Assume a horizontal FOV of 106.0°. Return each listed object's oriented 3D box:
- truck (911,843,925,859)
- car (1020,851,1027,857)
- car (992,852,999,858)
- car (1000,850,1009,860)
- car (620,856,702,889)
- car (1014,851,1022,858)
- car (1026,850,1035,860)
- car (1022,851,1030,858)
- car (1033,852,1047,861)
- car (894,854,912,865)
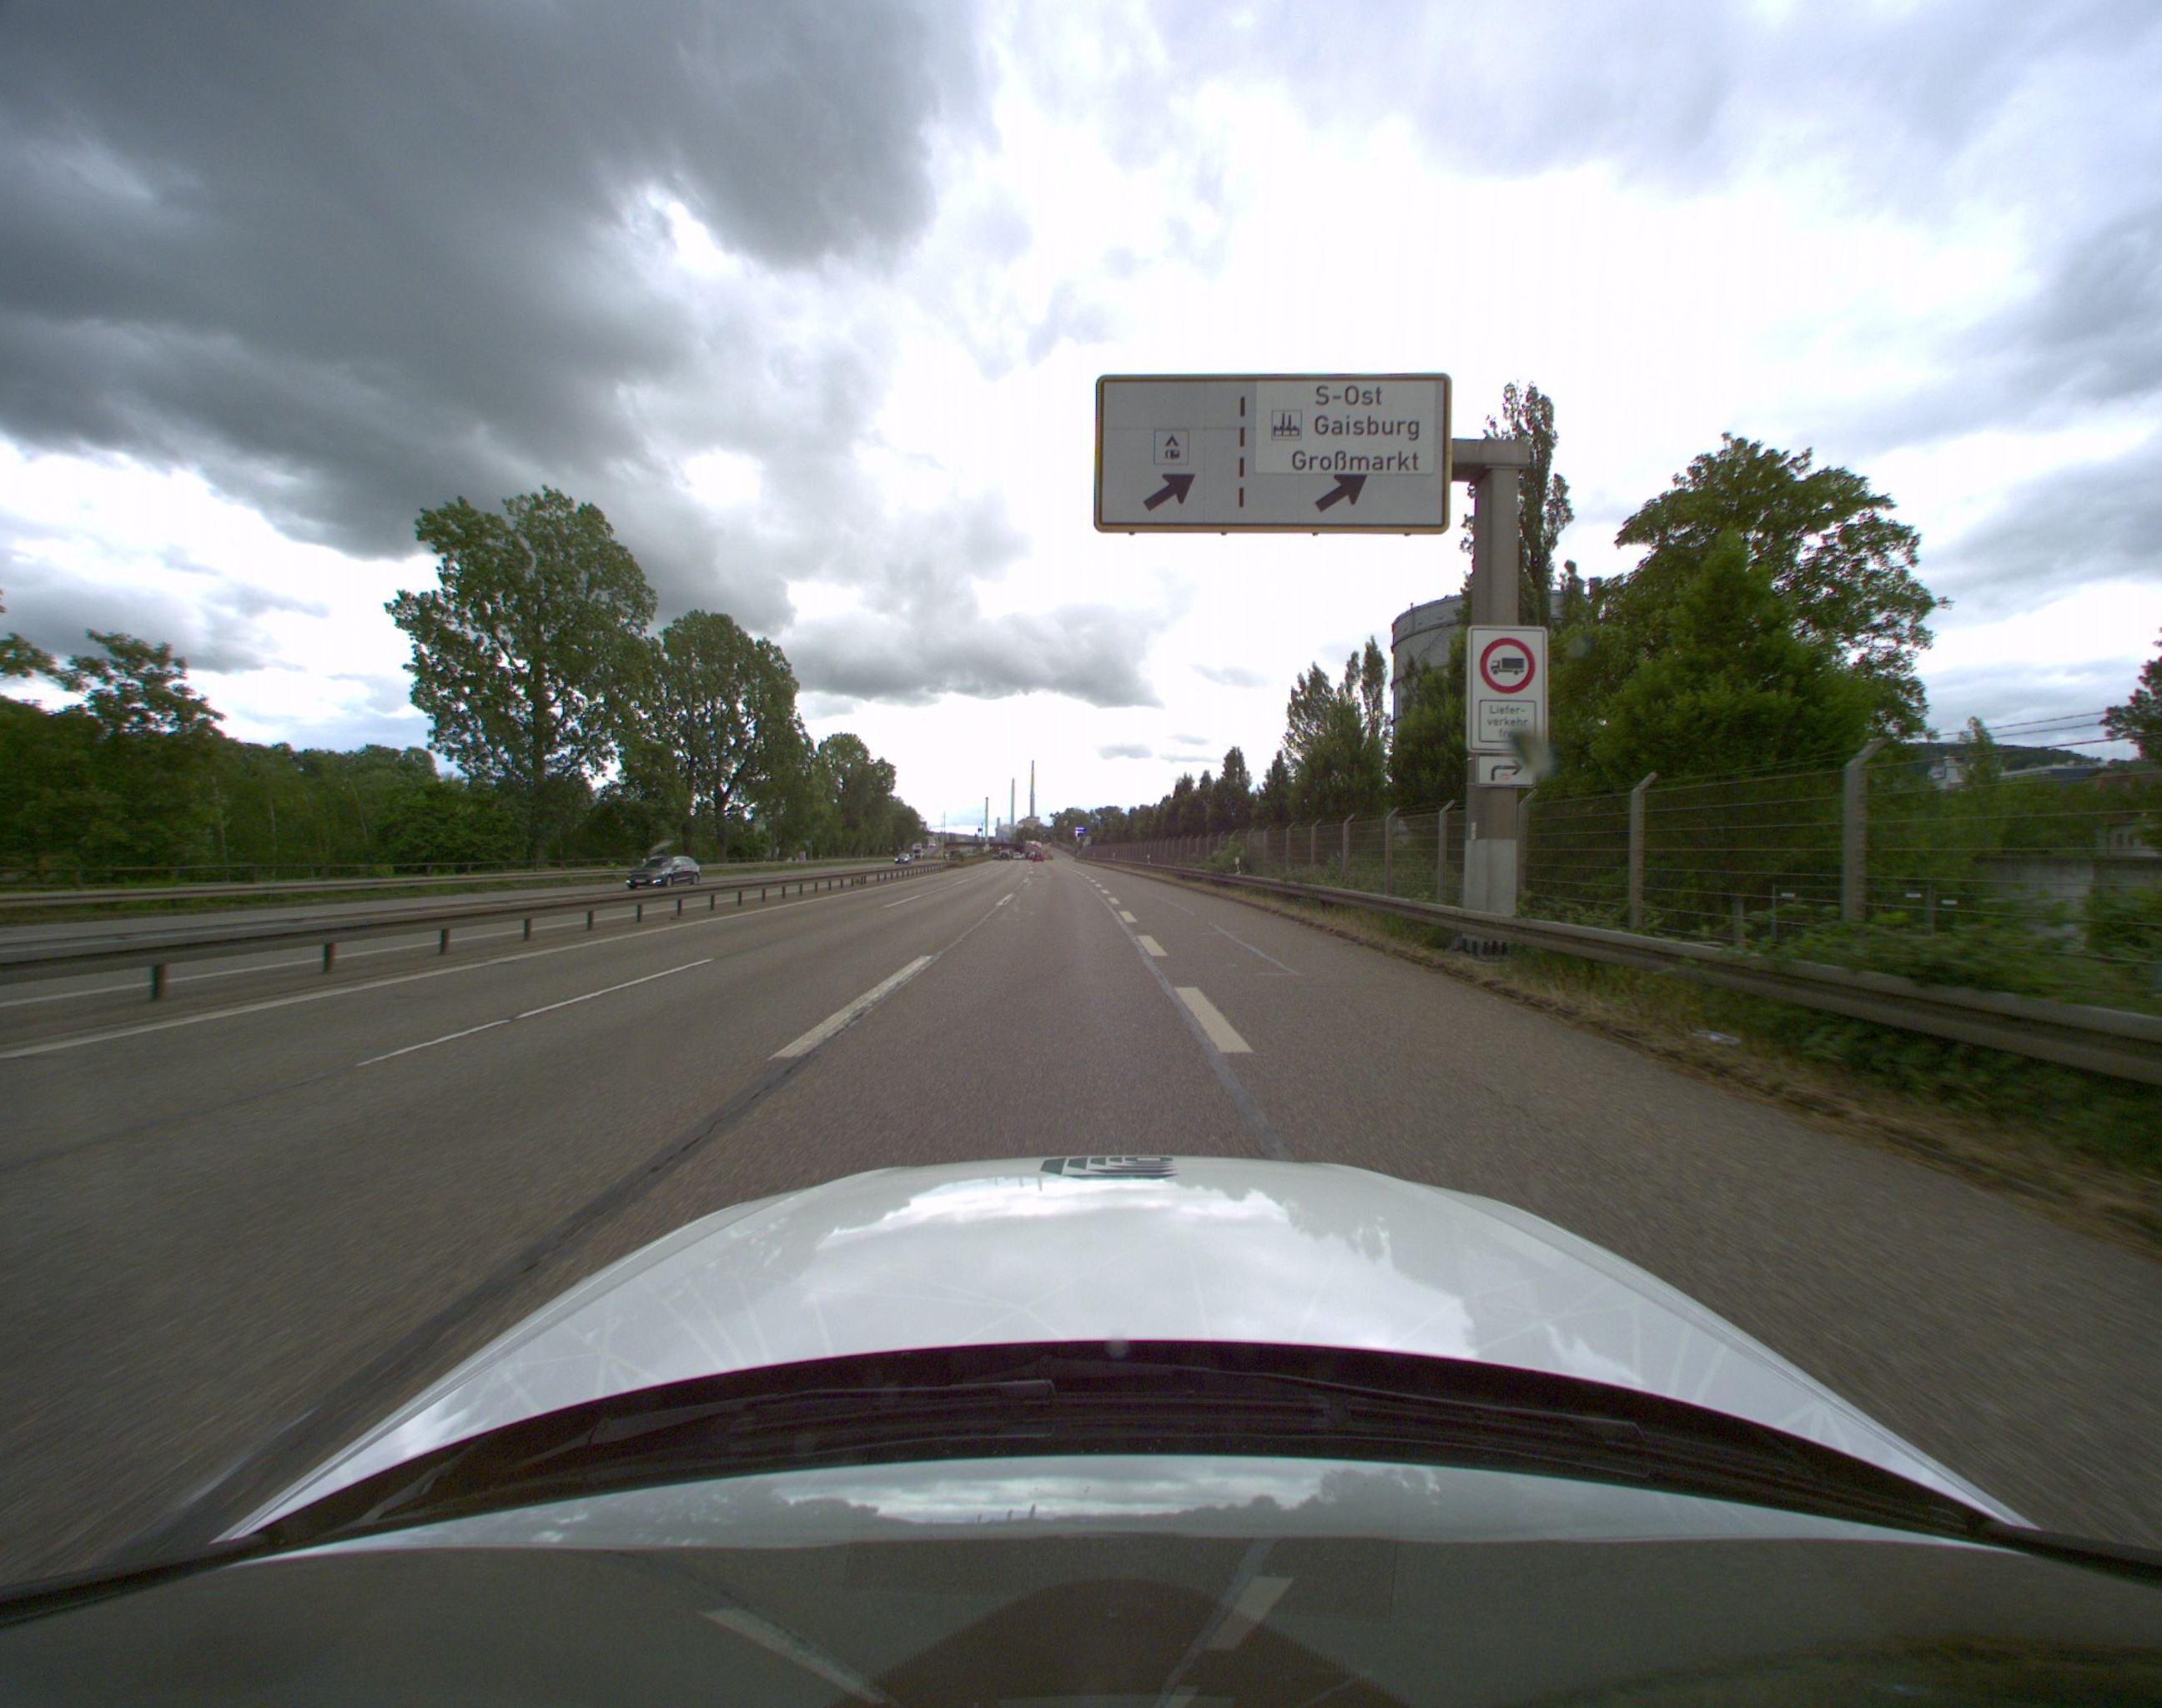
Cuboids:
[{"bbox_3d":[-42.261,-0.825,211.614,2.888,4.165,14.611,1,0,-10],"label":"truck"},{"bbox_3d":[-15.075,0.065,213.743,1.697,1.555,4.385,-1,0,-8],"label":"car"},{"bbox_3d":[-24.747,0.208,236.398,1.697,1.742,4.380,-1,0,-9],"label":"car"},{"bbox_3d":[-14.073,0.201,150.225,1.695,1.742,3.993,-1,0,-5],"label":"car"},{"bbox_3d":[-20.206,0.848,39.437,1.693,1.413,4.634,-1,0,-2],"label":"car"},{"bbox_3d":[-13.534,0.146,175.021,1.695,1.389,4.390,-1,0,-5],"label":"car"},{"bbox_3d":[-9.407,0.128,150.932,1.694,1.742,4.386,-1,0,-4],"label":"car"},{"bbox_3d":[-12.801,0.081,188.812,1.696,1.555,4.388,-1,0,-6],"label":"car"},{"bbox_3d":[-6.249,0.359,124.690,1.971,1.423,4.893,-1,0,-4],"label":"car"},{"bbox_3d":[-24.605,0.721,112.775,1.694,1.413,4.631,-1,0,-4],"label":"car"}]
